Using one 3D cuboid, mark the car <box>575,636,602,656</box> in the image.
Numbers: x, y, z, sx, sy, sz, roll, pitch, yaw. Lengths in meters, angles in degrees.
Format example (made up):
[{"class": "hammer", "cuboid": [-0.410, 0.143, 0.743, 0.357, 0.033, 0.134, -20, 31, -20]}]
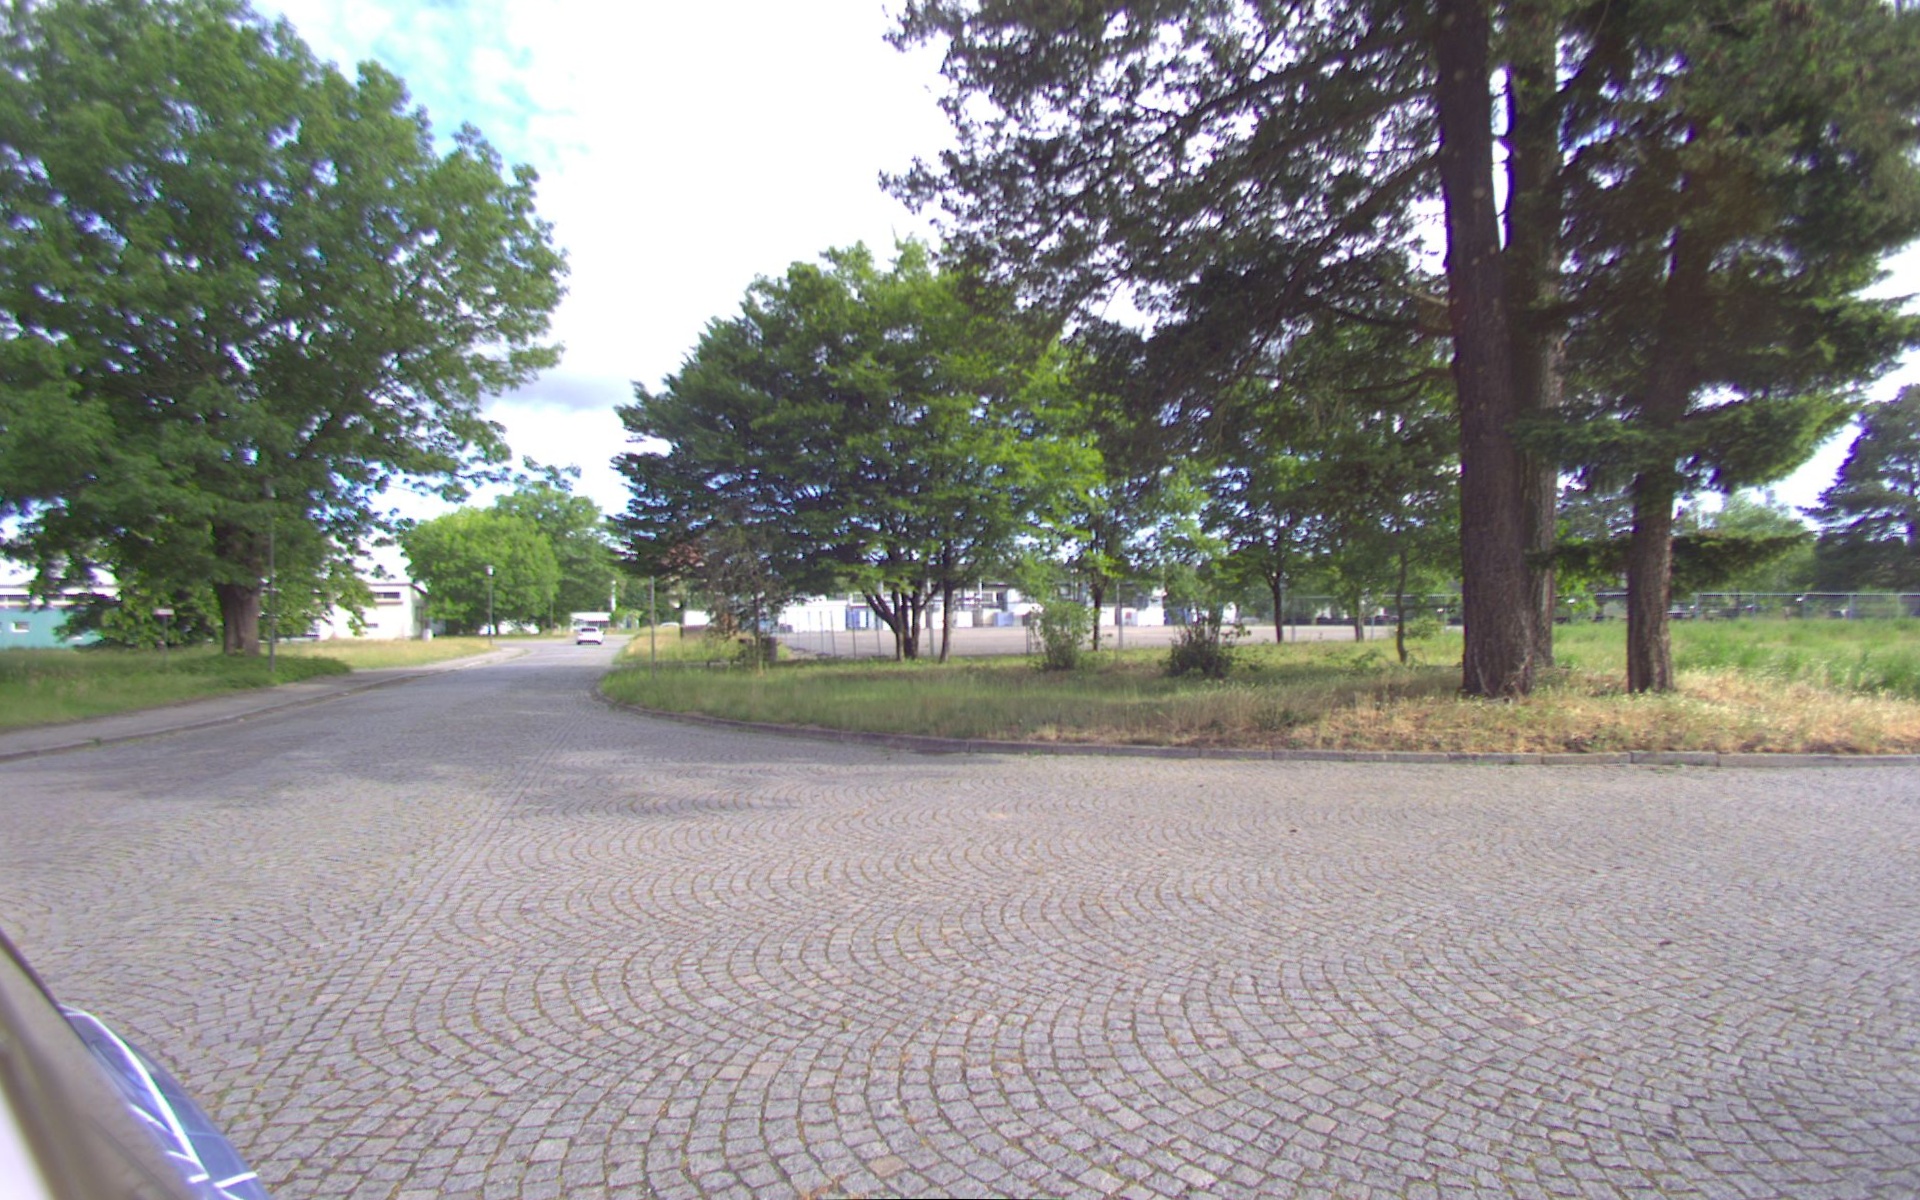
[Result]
[{"class": "car", "cuboid": [-29.149, 3.574, 79.465, 1.823, 1.448, 4.720, -1, -1, -18]}]
